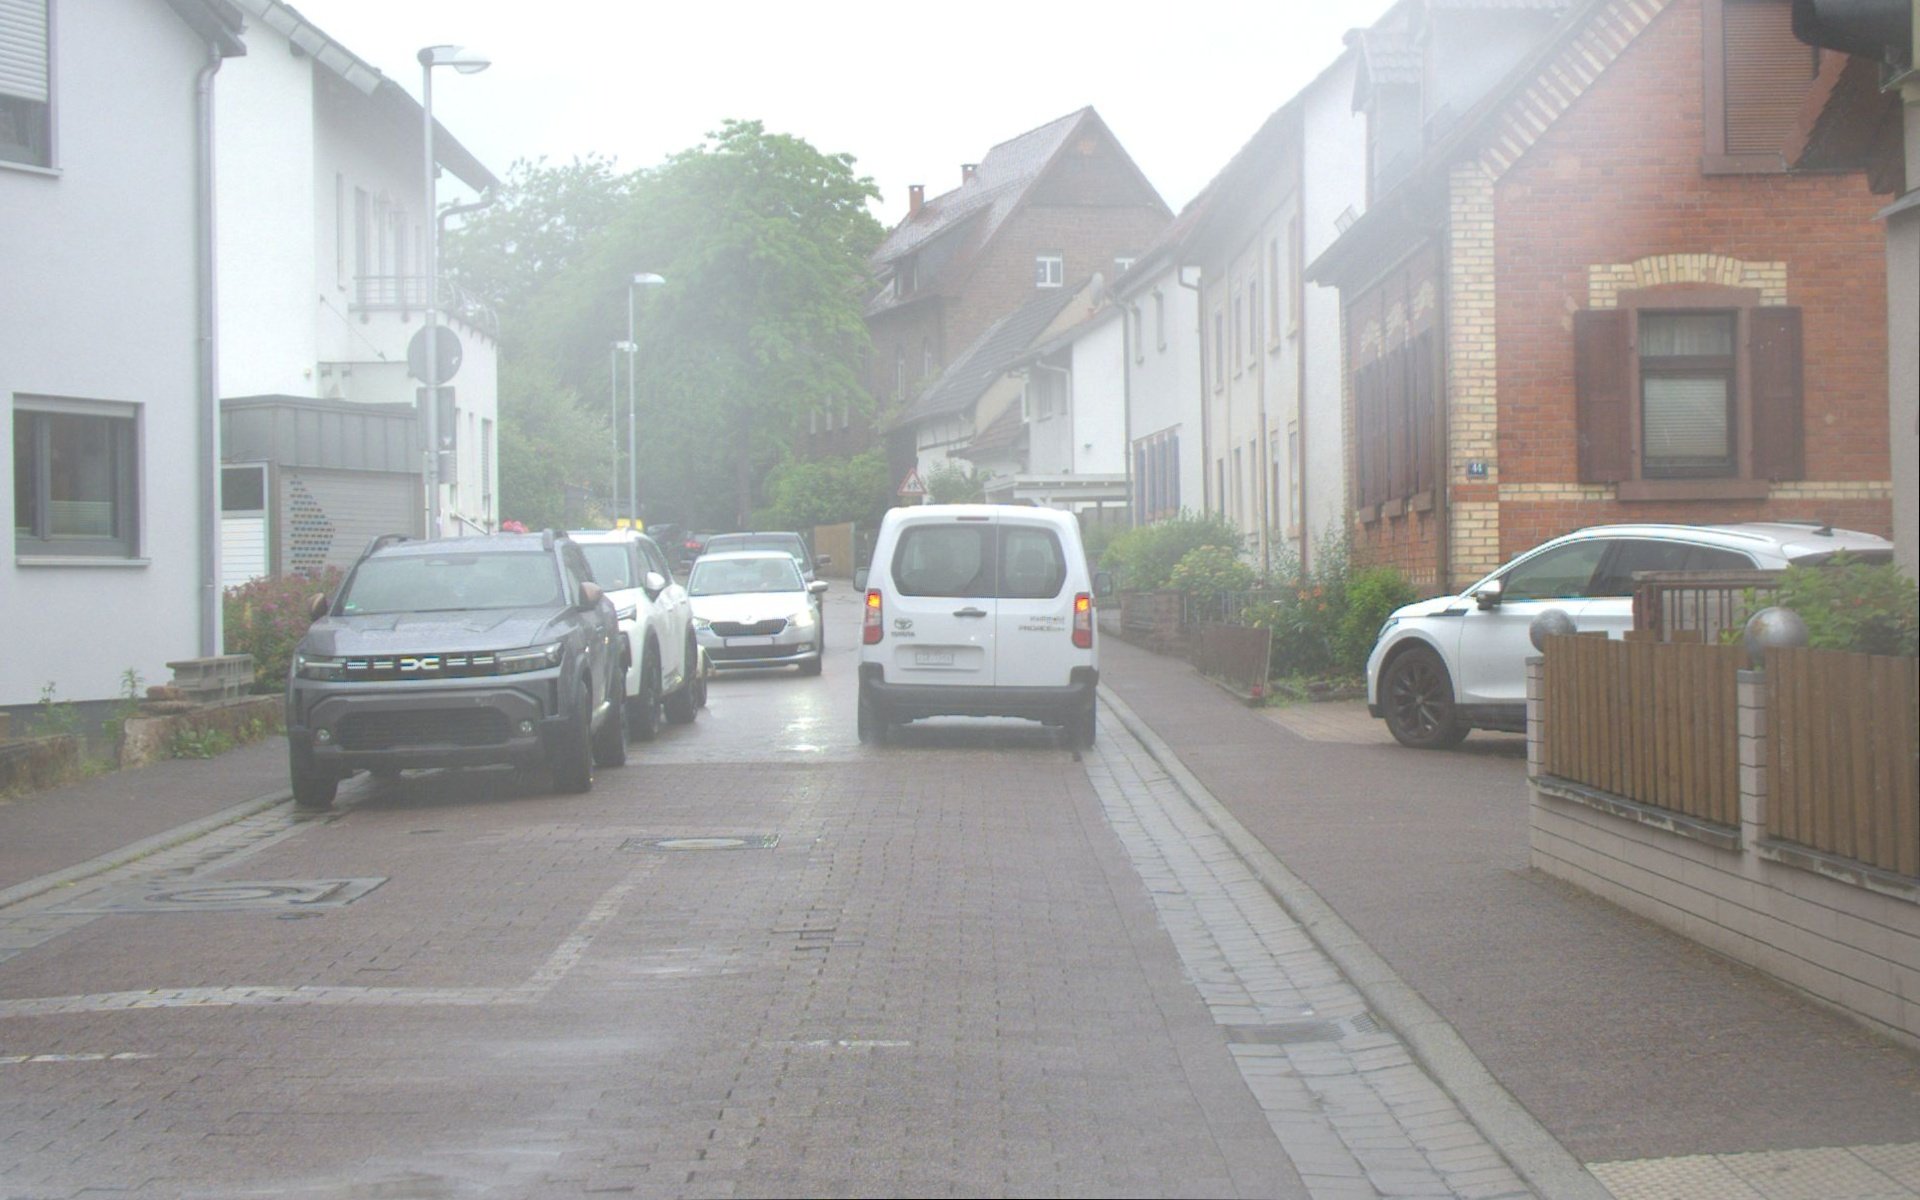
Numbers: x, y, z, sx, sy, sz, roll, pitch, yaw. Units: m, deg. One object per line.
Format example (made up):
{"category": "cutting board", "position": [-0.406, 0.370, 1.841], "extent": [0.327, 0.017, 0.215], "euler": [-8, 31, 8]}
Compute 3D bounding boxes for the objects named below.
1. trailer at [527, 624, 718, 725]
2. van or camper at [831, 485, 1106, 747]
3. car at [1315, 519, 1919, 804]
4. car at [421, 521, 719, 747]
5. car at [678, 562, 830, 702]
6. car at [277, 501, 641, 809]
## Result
{"category": "trailer", "position": [-3.107, 0.674, 32.038], "extent": [1.483, 0.826, 2.676], "euler": [-3, 0, 0]}
{"category": "van or camper", "position": [0.069, 0.084, 26.767], "extent": [1.943, 1.845, 4.000], "euler": [1, 1, 0]}
{"category": "car", "position": [4.577, 0.322, 23.182], "extent": [1.871, 1.584, 4.620], "euler": [0, 3, -32]}
{"category": "car", "position": [-3.117, 0.250, 28.319], "extent": [1.748, 1.631, 4.418], "euler": [-3, 0, 2]}
{"category": "car", "position": [-2.508, 0.420, 41.123], "extent": [1.688, 1.559, 3.934], "euler": [-1, -2, -5]}
{"category": "car", "position": [-3.129, 0.264, 22.217], "extent": [1.812, 1.773, 4.018], "euler": [-1, 2, -1]}
